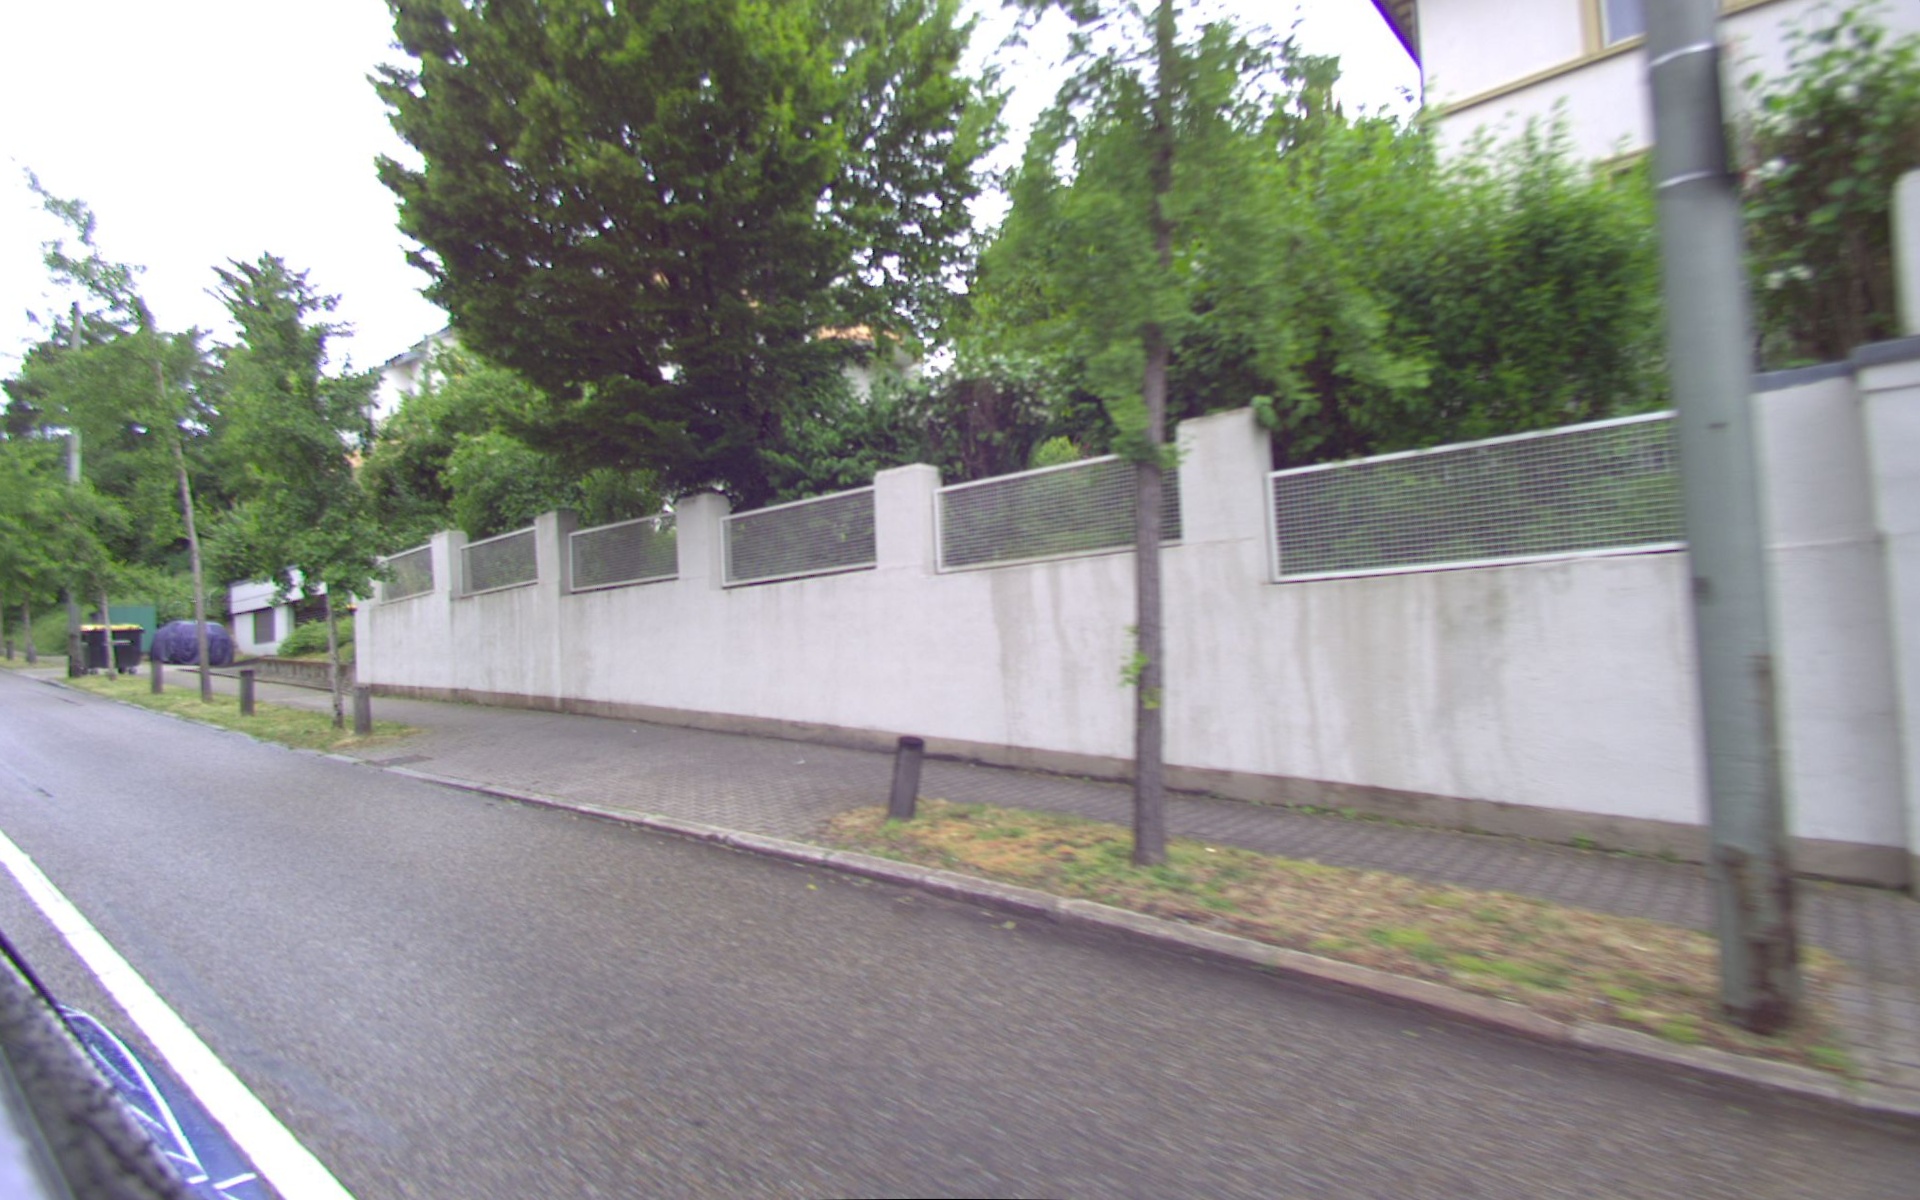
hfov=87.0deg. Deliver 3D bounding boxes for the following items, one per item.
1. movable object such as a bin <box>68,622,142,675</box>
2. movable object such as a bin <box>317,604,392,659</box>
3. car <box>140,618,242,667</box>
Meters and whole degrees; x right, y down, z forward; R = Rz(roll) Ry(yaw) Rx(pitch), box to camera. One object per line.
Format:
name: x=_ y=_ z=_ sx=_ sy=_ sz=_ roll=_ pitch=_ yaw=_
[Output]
movable object such as a bin: x=-22.545 y=1.261 z=26.702 sx=1.120 sy=1.361 sz=1.213 roll=-1 pitch=-1 yaw=32
movable object such as a bin: x=-15.596 y=0.813 z=26.085 sx=1.158 sy=1.325 sz=1.252 roll=-5 pitch=-3 yaw=32
car: x=-26.557 y=1.463 z=34.915 sx=3.861 sy=1.503 sz=1.833 roll=-1 pitch=-6 yaw=39
